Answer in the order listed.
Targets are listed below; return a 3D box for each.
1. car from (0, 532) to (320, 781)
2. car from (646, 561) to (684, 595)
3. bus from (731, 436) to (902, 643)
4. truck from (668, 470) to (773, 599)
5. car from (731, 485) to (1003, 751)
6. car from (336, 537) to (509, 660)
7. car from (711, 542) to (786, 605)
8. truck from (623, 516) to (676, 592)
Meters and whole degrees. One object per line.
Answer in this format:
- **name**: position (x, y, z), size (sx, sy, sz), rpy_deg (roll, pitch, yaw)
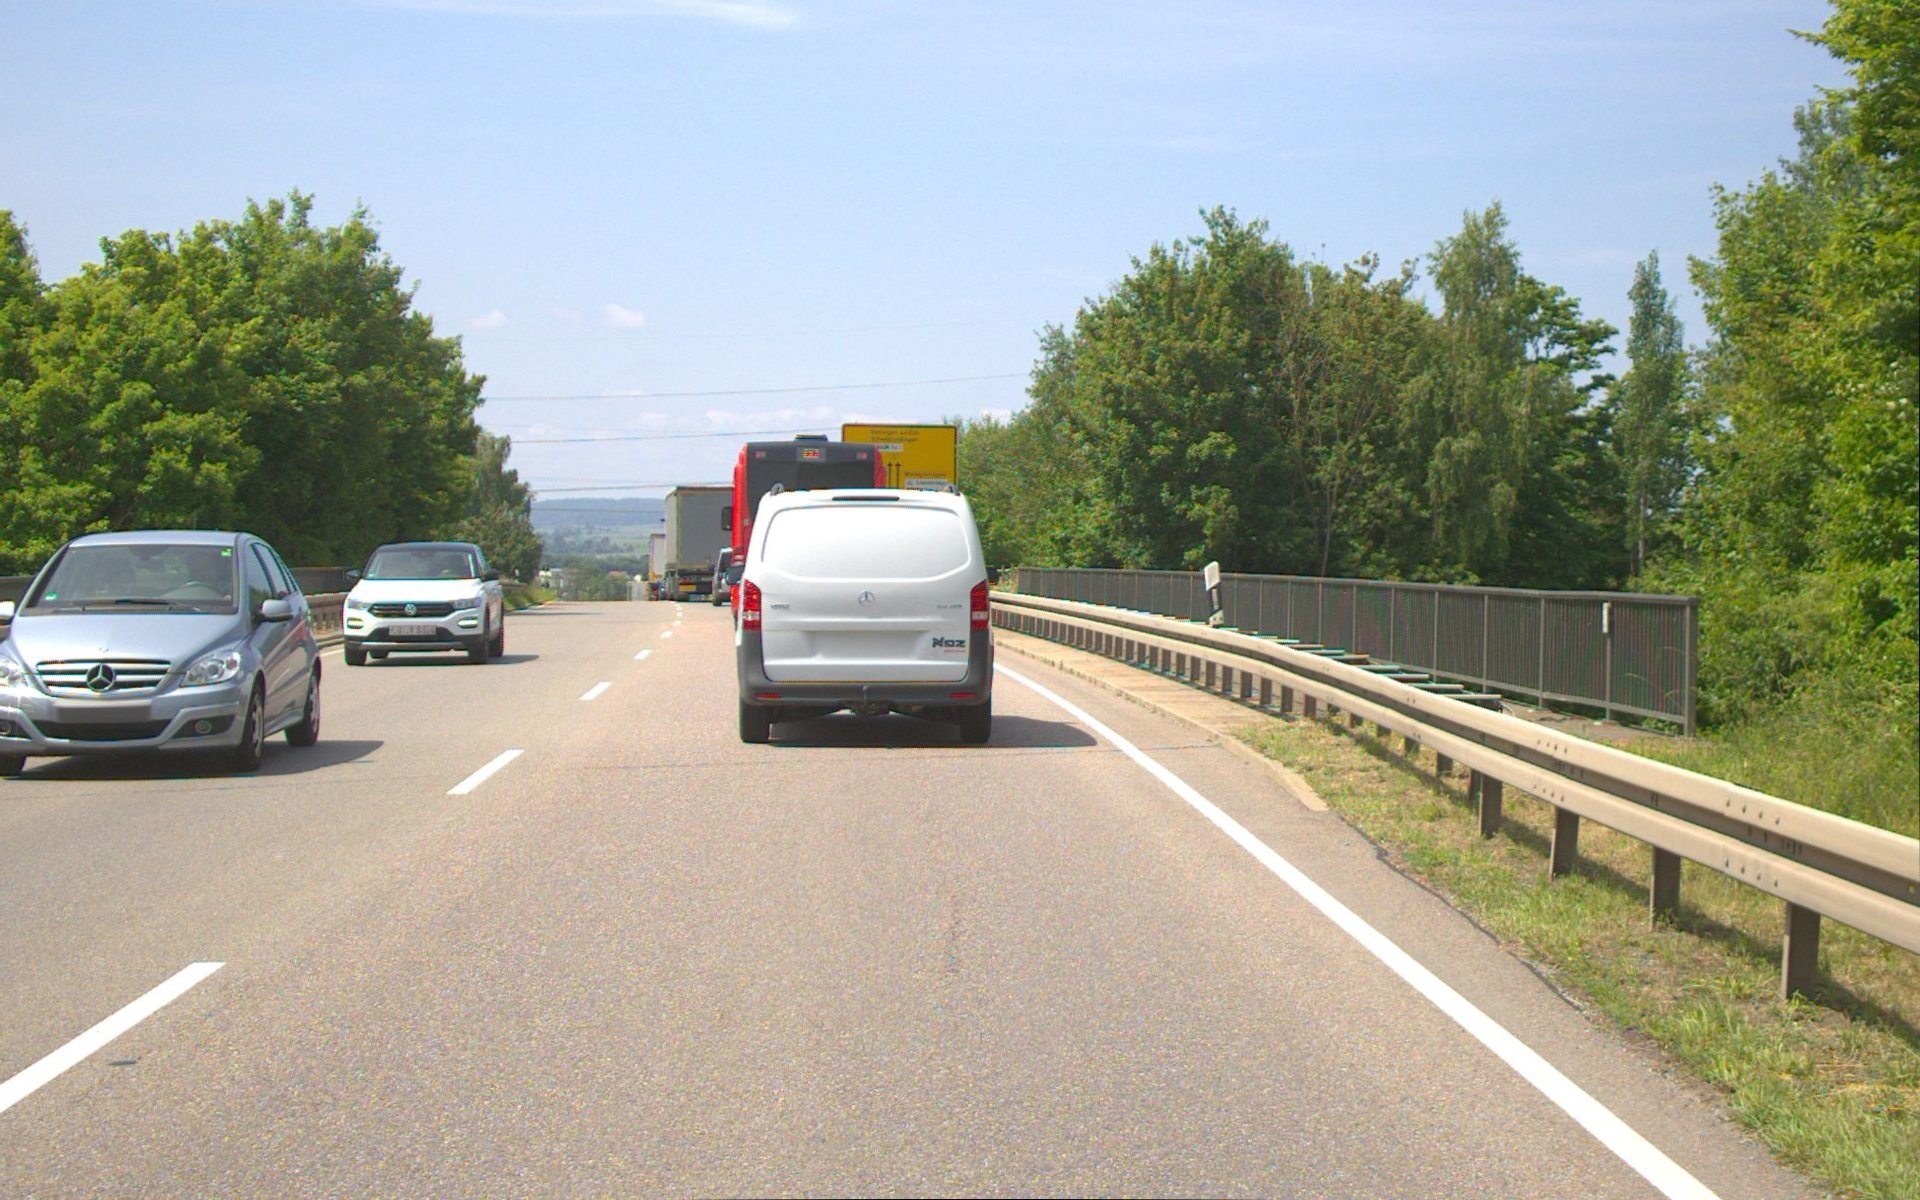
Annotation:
- **car**: position (-5.552, 0.311, 23.700), size (1.660, 1.546, 4.338), rpy_deg (0, 1, -3)
- **car**: position (-16.090, -1.233, 187.694), size (1.993, 1.809, 4.001), rpy_deg (1, 1, -4)
- **bus**: position (-2.726, -1.117, 62.462), size (2.747, 3.342, 13.223), rpy_deg (0, 1, -3)
- **truck**: position (-8.865, -2.424, 125.829), size (3.488, 4.408, 14.906), rpy_deg (0, 1, -5)
- **car**: position (-0.761, 0.086, 26.555), size (1.923, 1.883, 4.001), rpy_deg (1, 1, -3)
- **car**: position (-6.980, -0.062, 45.023), size (1.879, 1.506, 4.544), rpy_deg (0, 1, -4)
- **car**: position (-6.352, -0.808, 103.074), size (1.993, 1.809, 4.001), rpy_deg (1, 1, -7)
- **truck**: position (-19.023, -2.857, 210.000), size (3.034, 4.439, 14.906), rpy_deg (0, 1, -6)
